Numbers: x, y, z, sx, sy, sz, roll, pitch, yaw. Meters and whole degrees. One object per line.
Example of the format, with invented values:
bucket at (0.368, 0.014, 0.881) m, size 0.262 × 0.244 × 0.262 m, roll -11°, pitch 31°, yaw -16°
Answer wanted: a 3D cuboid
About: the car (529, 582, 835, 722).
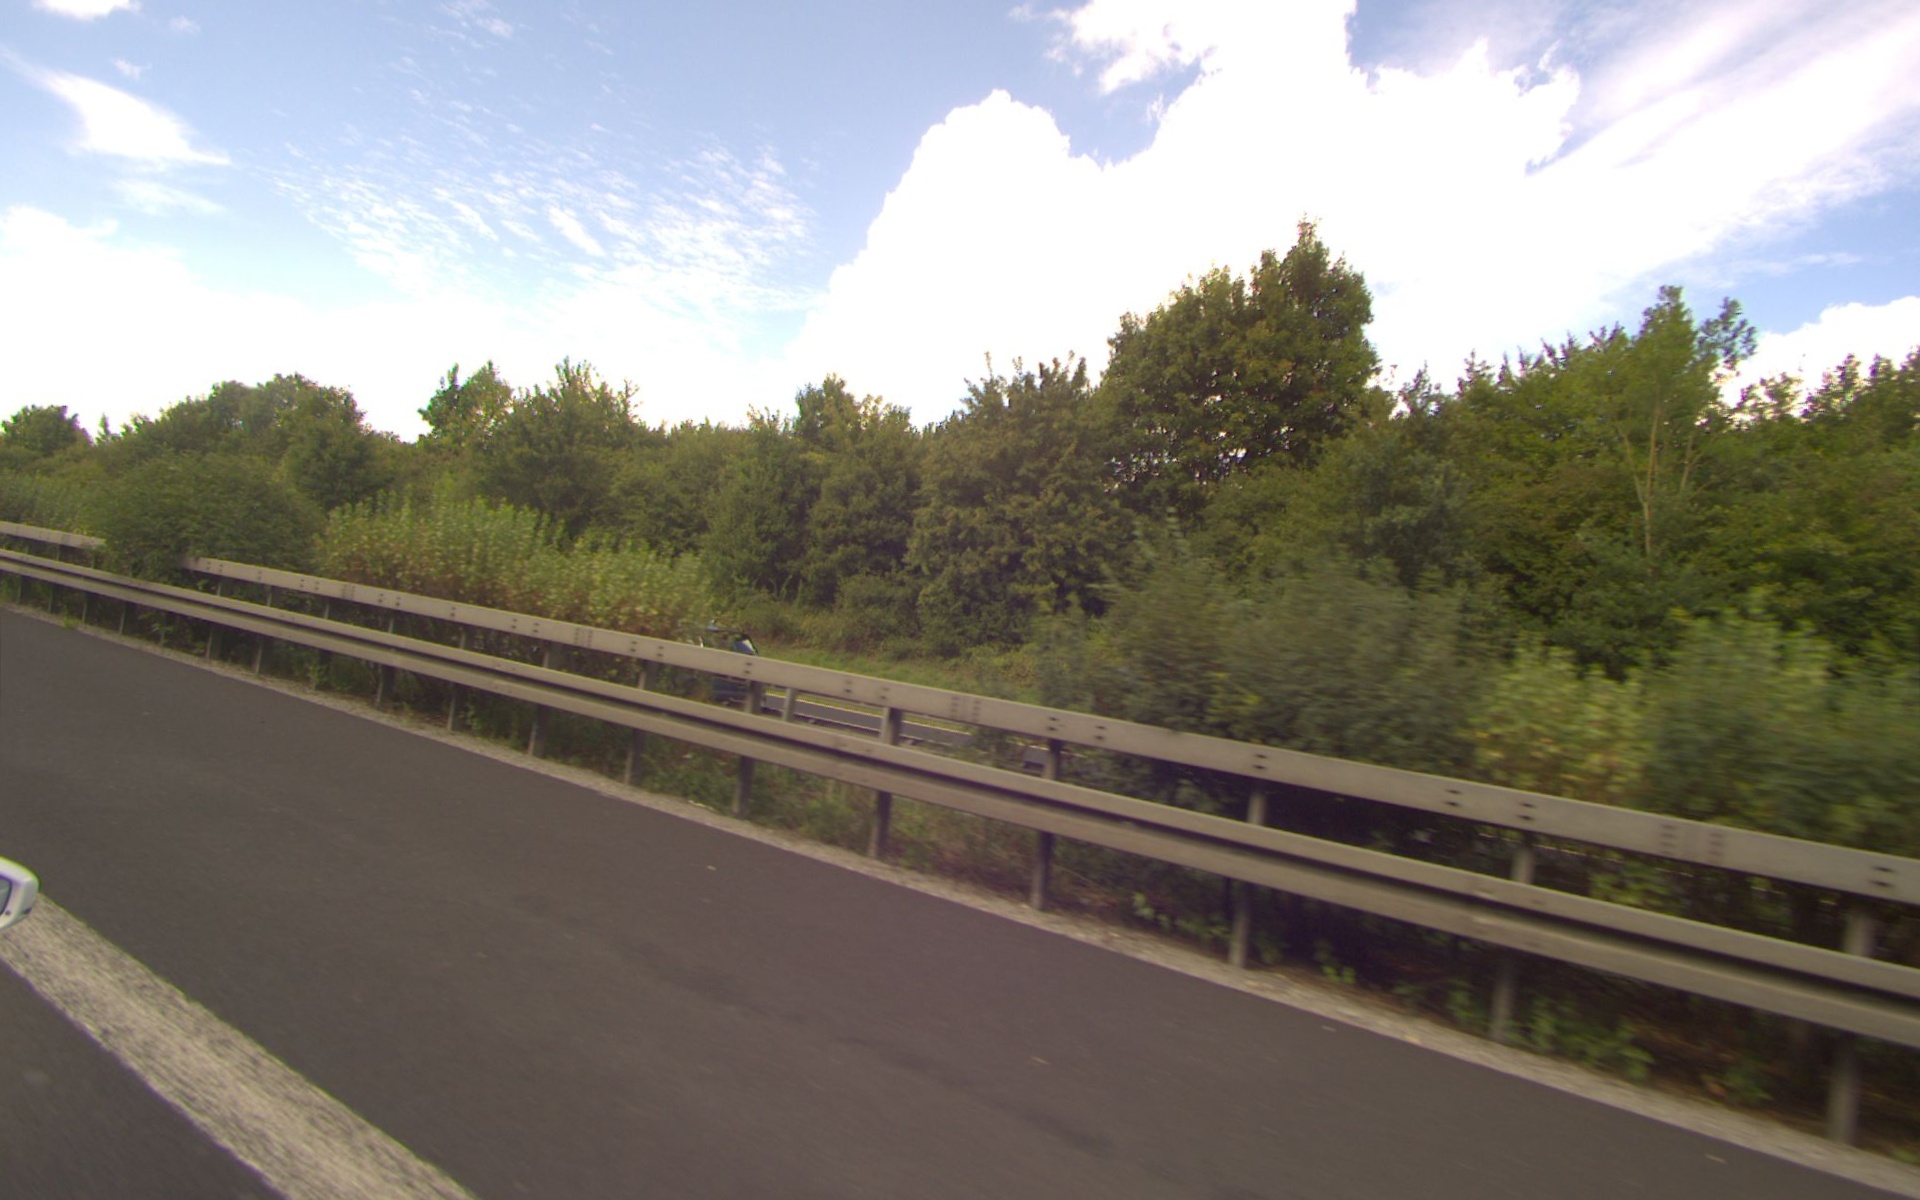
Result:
car at (-4.530, 0.821, 16.275) m, size 4.593 × 1.536 × 1.790 m, roll 7°, pitch -2°, yaw 26°
